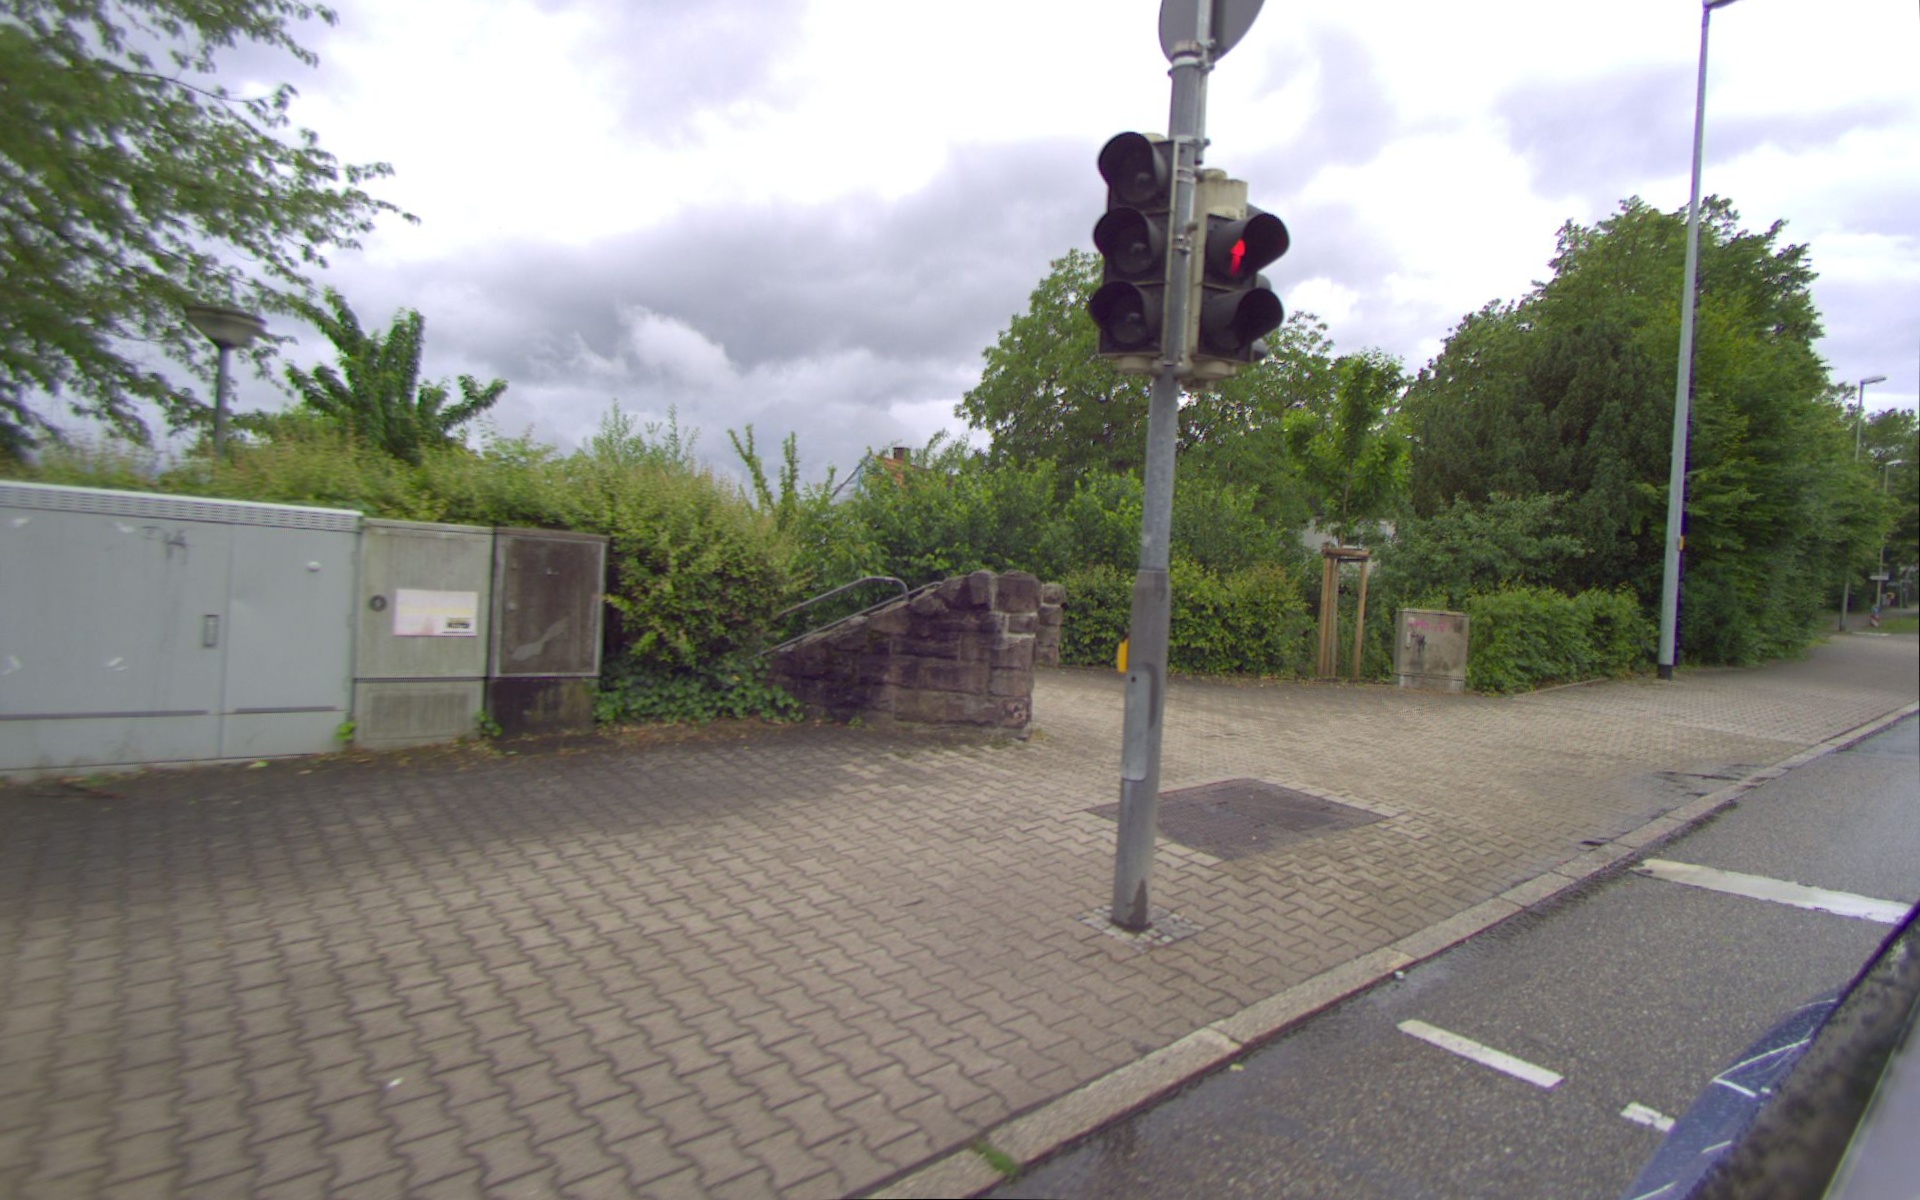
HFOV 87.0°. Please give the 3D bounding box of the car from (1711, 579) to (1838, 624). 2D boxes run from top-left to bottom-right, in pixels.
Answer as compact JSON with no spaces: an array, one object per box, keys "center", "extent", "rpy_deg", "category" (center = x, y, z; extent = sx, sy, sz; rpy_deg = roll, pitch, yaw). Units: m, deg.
[{"center":[36.648,0.056,45.550],"extent":[4.800,1.711,1.958],"rpy_deg":[3,0,-16],"category":"car"}]
